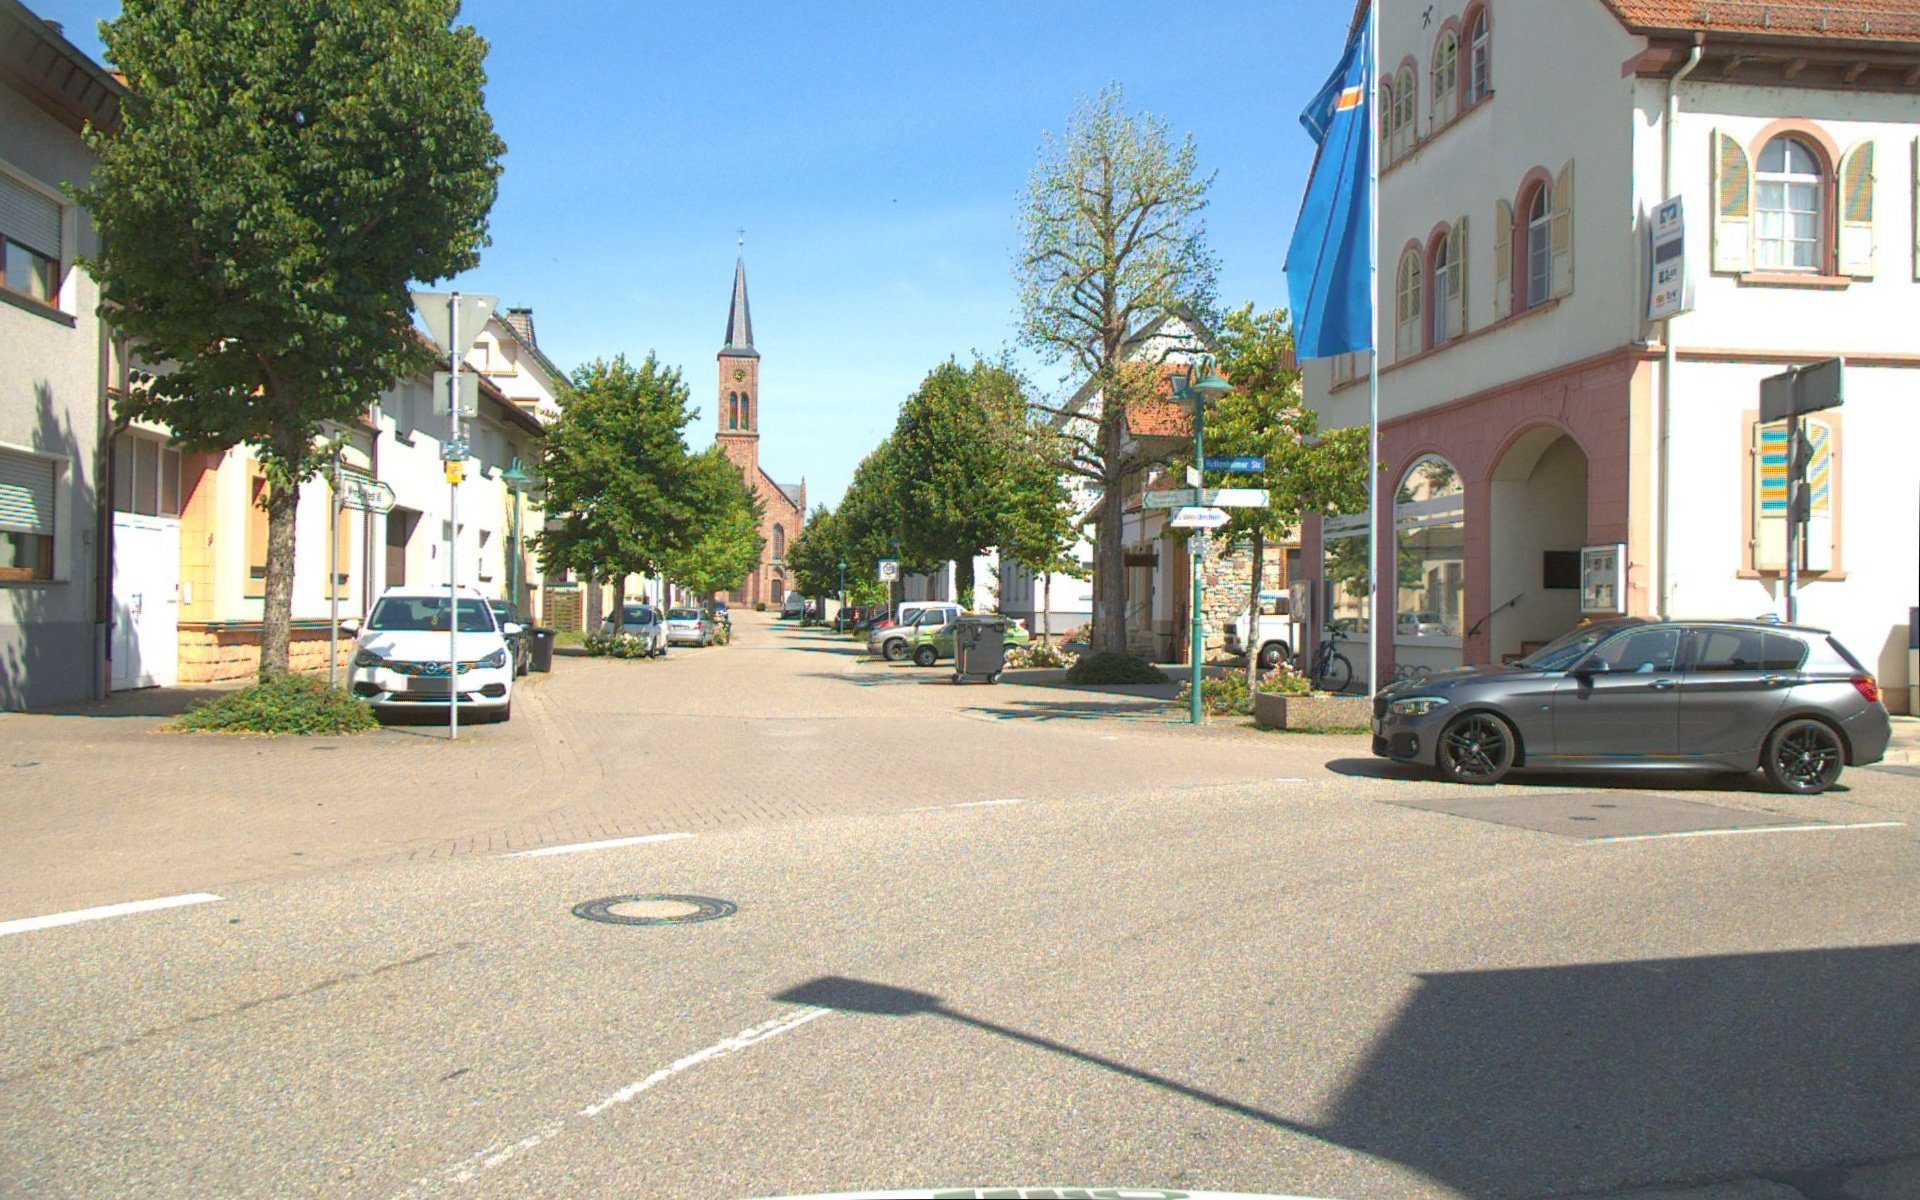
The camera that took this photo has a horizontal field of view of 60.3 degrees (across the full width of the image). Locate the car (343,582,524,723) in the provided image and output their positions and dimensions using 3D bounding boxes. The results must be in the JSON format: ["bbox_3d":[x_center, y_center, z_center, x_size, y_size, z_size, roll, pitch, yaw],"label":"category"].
[{"bbox_3d":[-6.252,0.551,19.681,1.820,1.466,4.490,0,0,-18],"label":"car"}]

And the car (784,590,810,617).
[{"bbox_3d":[-14.747,0.345,149.789,2.202,2.318,4.496,2,-1,-7],"label":"car"}]

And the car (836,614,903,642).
[{"bbox_3d":[-5.557,1.700,100.946,3.913,1.646,1.996,0,0,-9],"label":"car"}]

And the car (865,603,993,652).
[{"bbox_3d":[-1.060,0.906,54.932,4.071,1.596,1.997,0,0,-7],"label":"car"}]

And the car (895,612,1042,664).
[{"bbox_3d":[0.196,1.025,45.490,3.849,1.368,1.997,0,0,-7],"label":"car"}]

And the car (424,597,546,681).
[{"bbox_3d":[-8.947,0.678,31.491,1.950,1.466,5.193,0,0,-13],"label":"car"}]

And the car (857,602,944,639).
[{"bbox_3d":[-2.824,0.963,77.489,3.911,1.668,1.997,0,0,-7],"label":"car"}]

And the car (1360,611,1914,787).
[{"bbox_3d":[5.779,0.815,14.523,4.165,1.400,1.742,0,0,4],"label":"car"}]

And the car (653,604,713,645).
[{"bbox_3d":[-10.620,0.911,63.232,1.959,1.489,3.986,1,0,-13],"label":"car"}]

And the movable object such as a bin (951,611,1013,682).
[{"bbox_3d":[0.419,0.902,32.482,1.164,1.361,0.788,0,0,-3],"label":"movable object such as a bin"}]

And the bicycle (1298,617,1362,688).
[{"bbox_3d":[6.283,0.880,28.161,0.581,1.155,1.747,0,0,-4],"label":"bicycle"}]

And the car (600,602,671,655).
[{"bbox_3d":[-10.130,0.858,51.898,1.956,1.601,3.993,0,0,-8],"label":"car"}]

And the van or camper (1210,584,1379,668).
[{"bbox_3d":[8.384,0.637,41.700,3.904,2.049,2.000,0,0,2],"label":"van or camper"}]

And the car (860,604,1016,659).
[{"bbox_3d":[-0.712,0.983,51.842,4.712,1.652,1.997,0,0,-7],"label":"car"}]

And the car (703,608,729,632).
[{"bbox_3d":[-19.684,1.608,133.144,1.957,1.847,3.990,0,0,-10],"label":"car"}]
